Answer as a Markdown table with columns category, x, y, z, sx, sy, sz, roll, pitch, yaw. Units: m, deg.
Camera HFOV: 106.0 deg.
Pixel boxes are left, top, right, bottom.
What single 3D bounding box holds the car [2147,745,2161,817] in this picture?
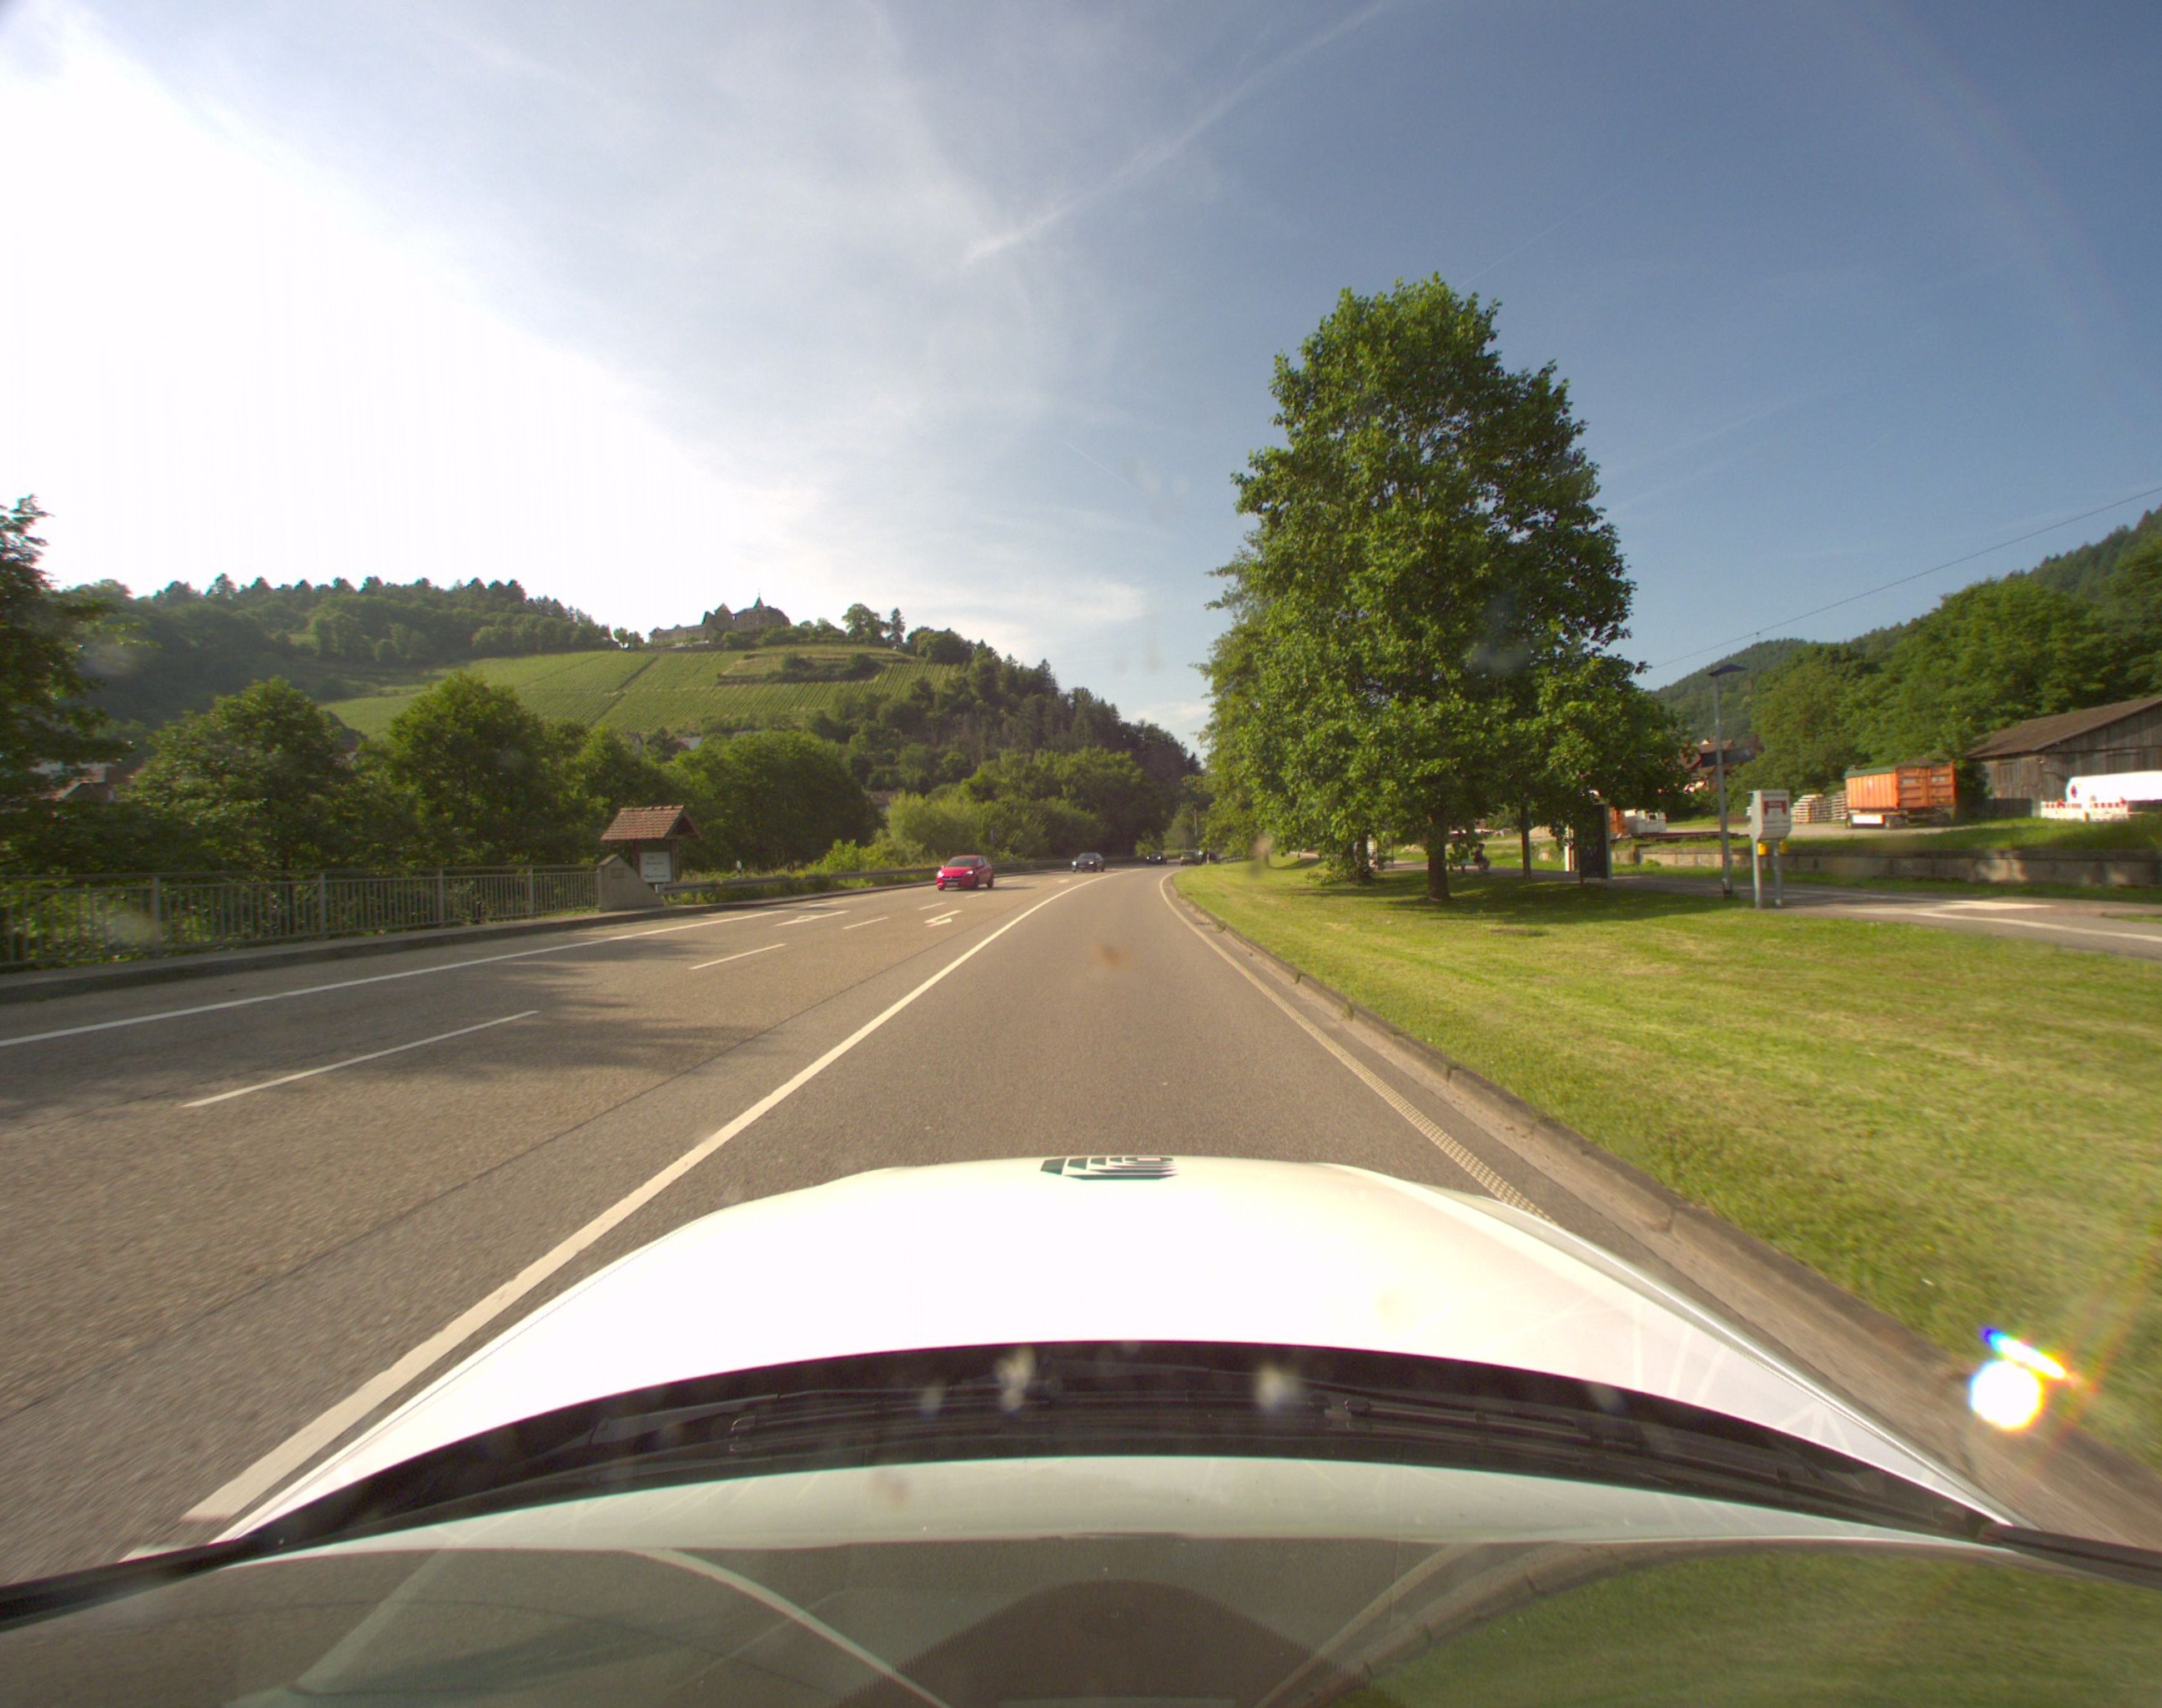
| category | x | y | z | sx | sy | sz | roll | pitch | yaw |
| --- | --- | --- | --- | --- | --- | --- | --- | --- | --- |
| car | 27.814 | -1.778 | 18.252 | 4.927 | 1.690 | 1.939 | -1 | 0 | 5 |

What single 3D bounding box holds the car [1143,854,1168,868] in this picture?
| category | x | y | z | sx | sy | sz | roll | pitch | yaw |
| --- | --- | --- | --- | --- | --- | --- | --- | --- | --- |
| car | 8.177 | 0.775 | 89.554 | 1.679 | 1.402 | 4.223 | -1 | 0 | 20 |

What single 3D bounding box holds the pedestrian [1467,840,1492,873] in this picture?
| category | x | y | z | sx | sy | sz | roll | pitch | yaw |
| --- | --- | --- | --- | --- | --- | --- | --- | --- | --- |
| pedestrian | 14.493 | 0.081 | 29.654 | 0.631 | 1.161 | 0.729 | -3 | -1 | 14 |

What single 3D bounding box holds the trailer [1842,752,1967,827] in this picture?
| category | x | y | z | sx | sy | sz | roll | pitch | yaw |
| --- | --- | --- | --- | --- | --- | --- | --- | --- | --- |
| trailer | 49.206 | -3.704 | 48.980 | 2.583 | 3.893 | 7.777 | -3 | 0 | 25 |

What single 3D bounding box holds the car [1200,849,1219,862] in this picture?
| category | x | y | z | sx | sy | sz | roll | pitch | yaw |
| --- | --- | --- | --- | --- | --- | --- | --- | --- | --- |
| car | 15.911 | 0.193 | 100.540 | 1.826 | 1.459 | 3.729 | -3 | 0 | 16 |

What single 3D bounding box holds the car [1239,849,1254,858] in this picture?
| category | x | y | z | sx | sy | sz | roll | pitch | yaw |
| --- | --- | --- | --- | --- | --- | --- | --- | --- | --- |
| car | 27.535 | -0.127 | 135.672 | 1.791 | 1.453 | 3.665 | -3 | 0 | 20 |

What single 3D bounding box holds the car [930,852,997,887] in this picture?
| category | x | y | z | sx | sy | sz | roll | pitch | yaw |
| --- | --- | --- | --- | --- | --- | --- | --- | --- | --- |
| car | -5.068 | 0.634 | 35.735 | 1.665 | 1.460 | 4.213 | -1 | 0 | 9 |

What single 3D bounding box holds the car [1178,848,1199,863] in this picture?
| category | x | y | z | sx | sy | sz | roll | pitch | yaw |
| --- | --- | --- | --- | --- | --- | --- | --- | --- | --- |
| car | 10.817 | 0.147 | 81.816 | 1.716 | 1.457 | 3.422 | -3 | 0 | 13 |

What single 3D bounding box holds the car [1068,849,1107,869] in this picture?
| category | x | y | z | sx | sy | sz | roll | pitch | yaw |
| --- | --- | --- | --- | --- | --- | --- | --- | --- | --- |
| car | 0.565 | 0.388 | 62.678 | 1.837 | 1.469 | 4.561 | 0 | 0 | 16 |
